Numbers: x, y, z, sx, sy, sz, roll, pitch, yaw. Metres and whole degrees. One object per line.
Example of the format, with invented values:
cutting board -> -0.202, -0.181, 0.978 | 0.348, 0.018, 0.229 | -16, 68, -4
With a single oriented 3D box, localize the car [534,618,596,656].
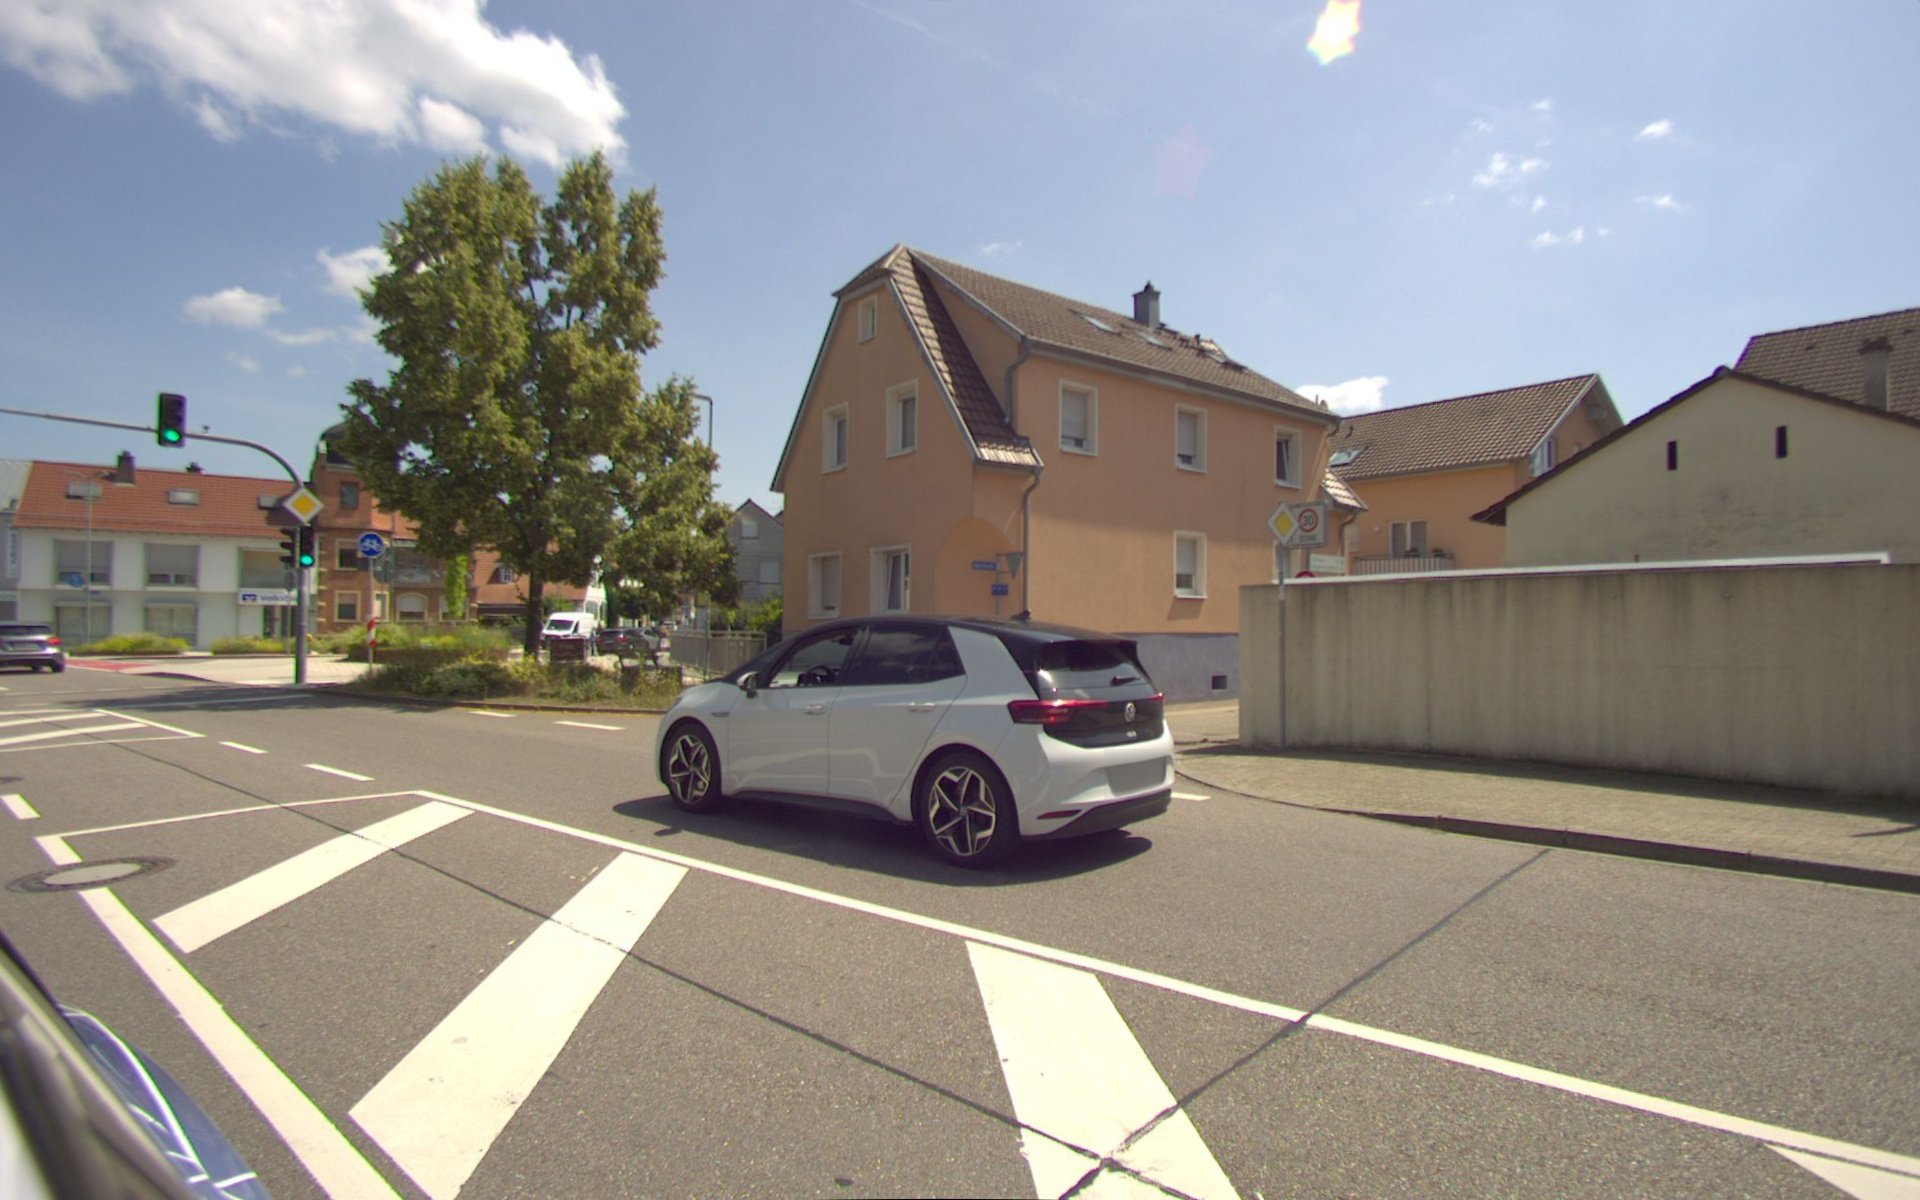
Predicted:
car -> -26.170, 2.461, 67.231 | 2.142, 2.363, 5.112 | 1, -2, -1

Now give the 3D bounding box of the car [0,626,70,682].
car -> -26.429, 1.455, 28.068 | 4.211, 1.453, 1.845 | 0, -3, 38

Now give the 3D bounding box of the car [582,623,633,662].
car -> -19.182, 2.325, 55.206 | 1.968, 2.029, 4.008 | 1, -3, -10

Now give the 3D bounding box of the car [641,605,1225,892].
car -> -0.377, 0.843, 7.408 | 4.130, 1.519, 1.777 | -1, -3, 40

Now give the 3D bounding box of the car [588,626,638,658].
car -> -26.679, 3.246, 78.077 | 2.142, 2.363, 5.112 | 1, -2, -1

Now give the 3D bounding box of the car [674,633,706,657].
car -> -20.704, 3.417, 77.712 | 2.035, 1.741, 4.009 | 2, -2, -11

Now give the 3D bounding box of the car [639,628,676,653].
car -> -29.219, 3.910, 97.845 | 2.142, 2.363, 5.112 | 1, -2, -1
